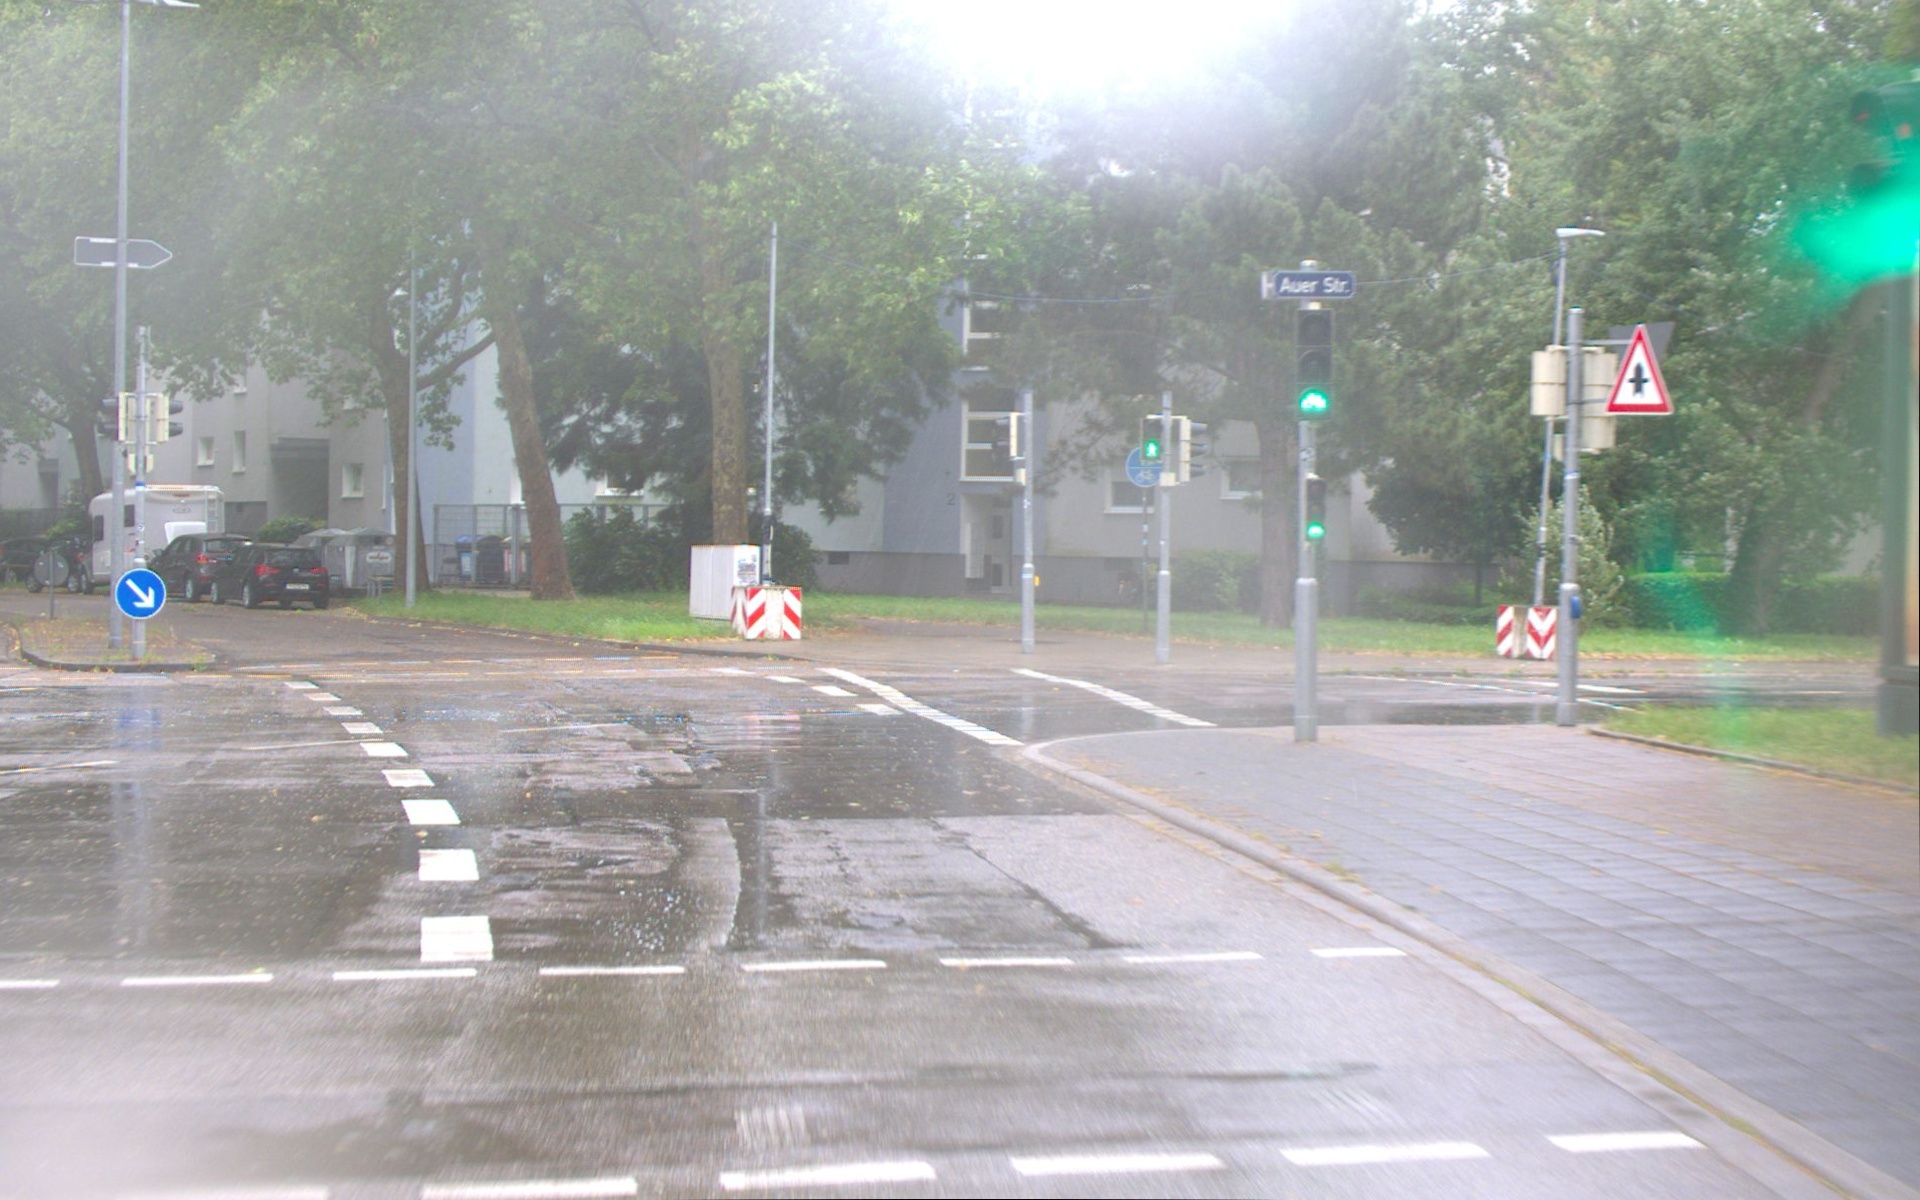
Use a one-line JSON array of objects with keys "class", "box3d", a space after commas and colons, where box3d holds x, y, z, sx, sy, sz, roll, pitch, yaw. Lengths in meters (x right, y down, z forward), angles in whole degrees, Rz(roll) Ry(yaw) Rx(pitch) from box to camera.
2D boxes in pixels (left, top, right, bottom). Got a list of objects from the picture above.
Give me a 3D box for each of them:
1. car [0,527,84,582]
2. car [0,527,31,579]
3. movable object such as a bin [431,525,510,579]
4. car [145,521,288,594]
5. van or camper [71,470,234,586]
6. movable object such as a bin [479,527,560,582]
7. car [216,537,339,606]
[{"class": "car", "box3d": [-28.391, -1.386, 103.428, 1.800, 1.596, 3.762, 2, 1, 31]}, {"class": "car", "box3d": [-30.514, -1.477, 105.014, 1.800, 1.596, 3.993, 2, 1, 31]}, {"class": "movable object such as a bin", "box3d": [-13.468, -1.322, 94.559, 1.861, 1.427, 1.213, 2, 1, 43]}, {"class": "car", "box3d": [-17.411, -0.968, 80.359, 1.915, 1.615, 4.454, 1, -1, -31]}, {"class": "van or camper", "box3d": [-20.628, -1.839, 87.557, 2.318, 2.798, 6.865, 1, 1, -28]}, {"class": "movable object such as a bin", "box3d": [-11.956, -1.246, 93.316, 1.861, 1.427, 1.213, 2, 1, 43]}, {"class": "car", "box3d": [-15.033, -0.642, 75.590, 1.548, 1.385, 4.150, 1, 1, -27]}]
